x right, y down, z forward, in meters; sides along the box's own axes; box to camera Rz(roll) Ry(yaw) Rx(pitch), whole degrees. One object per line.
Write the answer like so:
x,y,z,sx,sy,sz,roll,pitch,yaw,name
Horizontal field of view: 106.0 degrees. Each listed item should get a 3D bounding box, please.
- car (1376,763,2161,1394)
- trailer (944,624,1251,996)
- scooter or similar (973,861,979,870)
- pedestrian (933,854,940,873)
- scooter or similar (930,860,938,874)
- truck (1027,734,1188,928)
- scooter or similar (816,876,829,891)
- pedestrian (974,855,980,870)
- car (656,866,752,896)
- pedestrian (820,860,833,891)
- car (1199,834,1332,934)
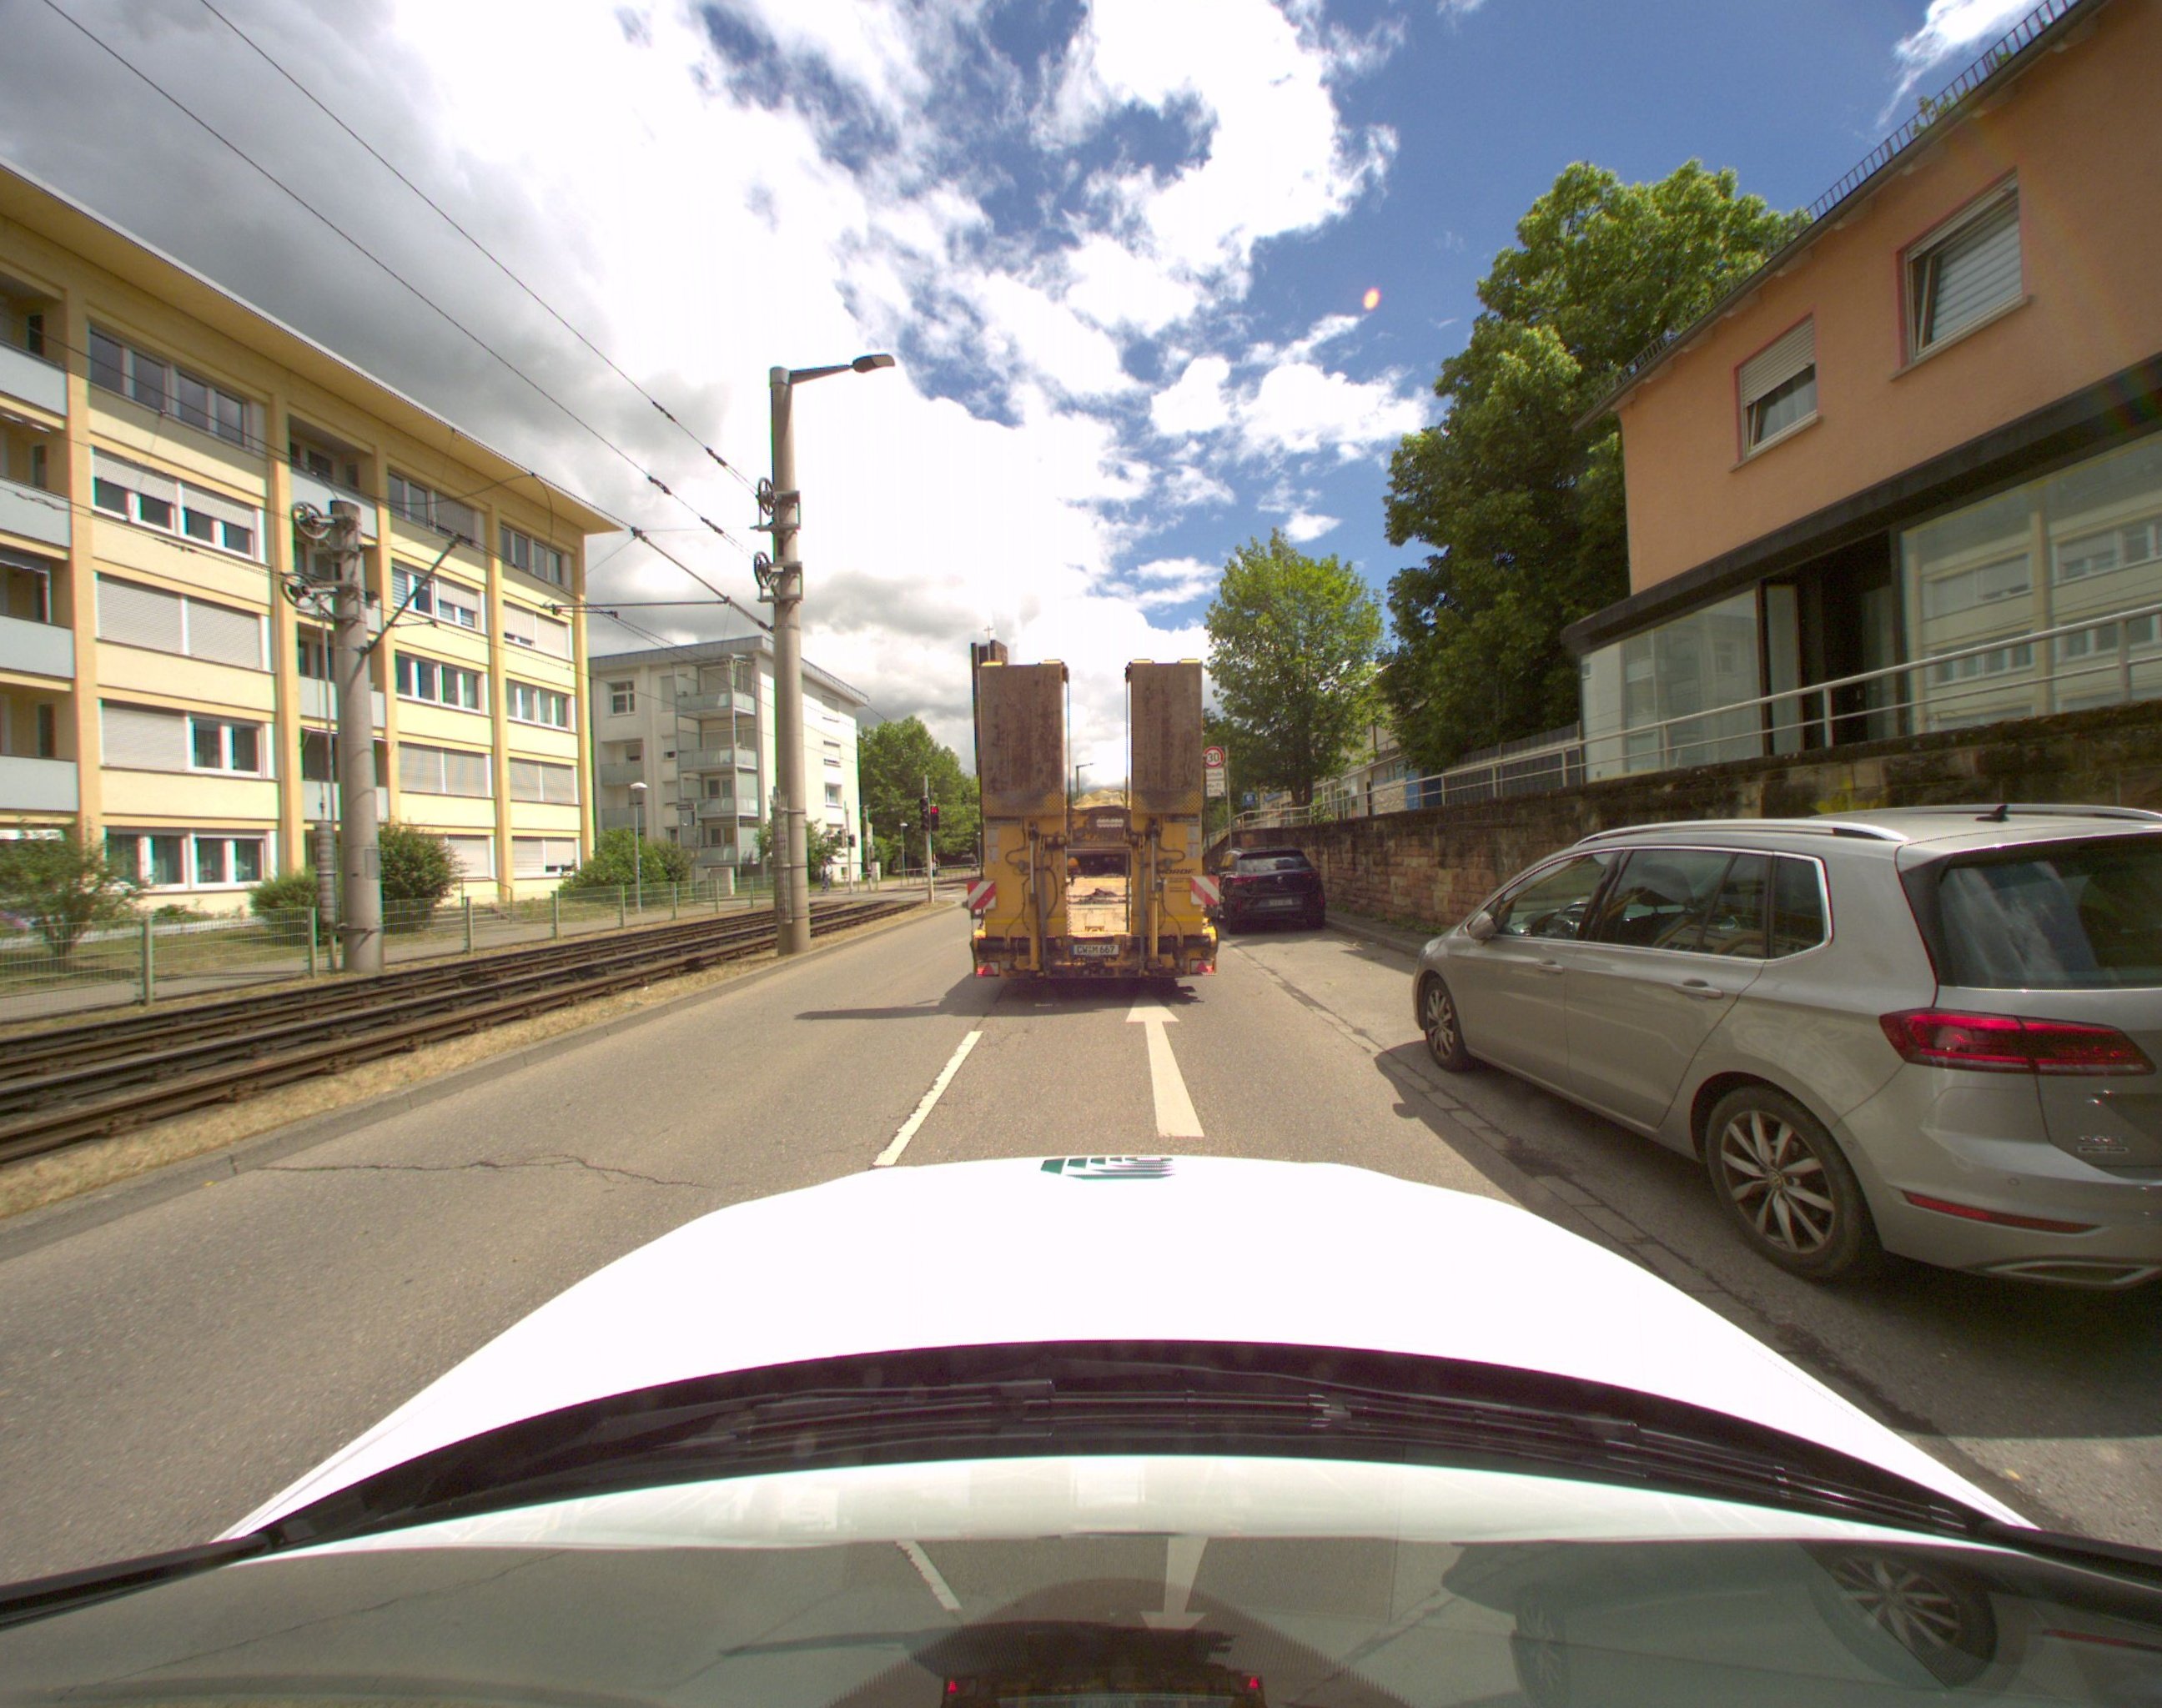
3.213,0.551,4.258,1.783,1.617,4.249,-3,0,1,car
0.368,-0.443,12.463,2.933,3.601,8.690,-2,0,3,trailer
-10.625,1.165,82.113,0.504,0.971,0.646,0,0,1,scooter or similar
-11.771,0.785,66.238,0.346,1.537,0.558,-2,0,5,pedestrian
-11.847,1.040,65.616,0.336,1.057,0.689,-2,0,8,scooter or similar
0.616,-0.439,17.901,2.931,3.572,4.880,-2,0,2,truck
-13.121,1.502,41.371,0.435,0.747,0.475,-2,0,7,scooter or similar
-10.590,0.900,82.766,0.562,1.513,0.646,0,0,1,pedestrian
-19.200,1.373,41.554,3.963,1.345,1.906,-2,0,9,car
-13.077,1.085,41.847,0.435,1.581,0.475,-2,0,7,pedestrian
3.521,0.529,16.274,1.843,1.639,4.003,-3,0,3,car
